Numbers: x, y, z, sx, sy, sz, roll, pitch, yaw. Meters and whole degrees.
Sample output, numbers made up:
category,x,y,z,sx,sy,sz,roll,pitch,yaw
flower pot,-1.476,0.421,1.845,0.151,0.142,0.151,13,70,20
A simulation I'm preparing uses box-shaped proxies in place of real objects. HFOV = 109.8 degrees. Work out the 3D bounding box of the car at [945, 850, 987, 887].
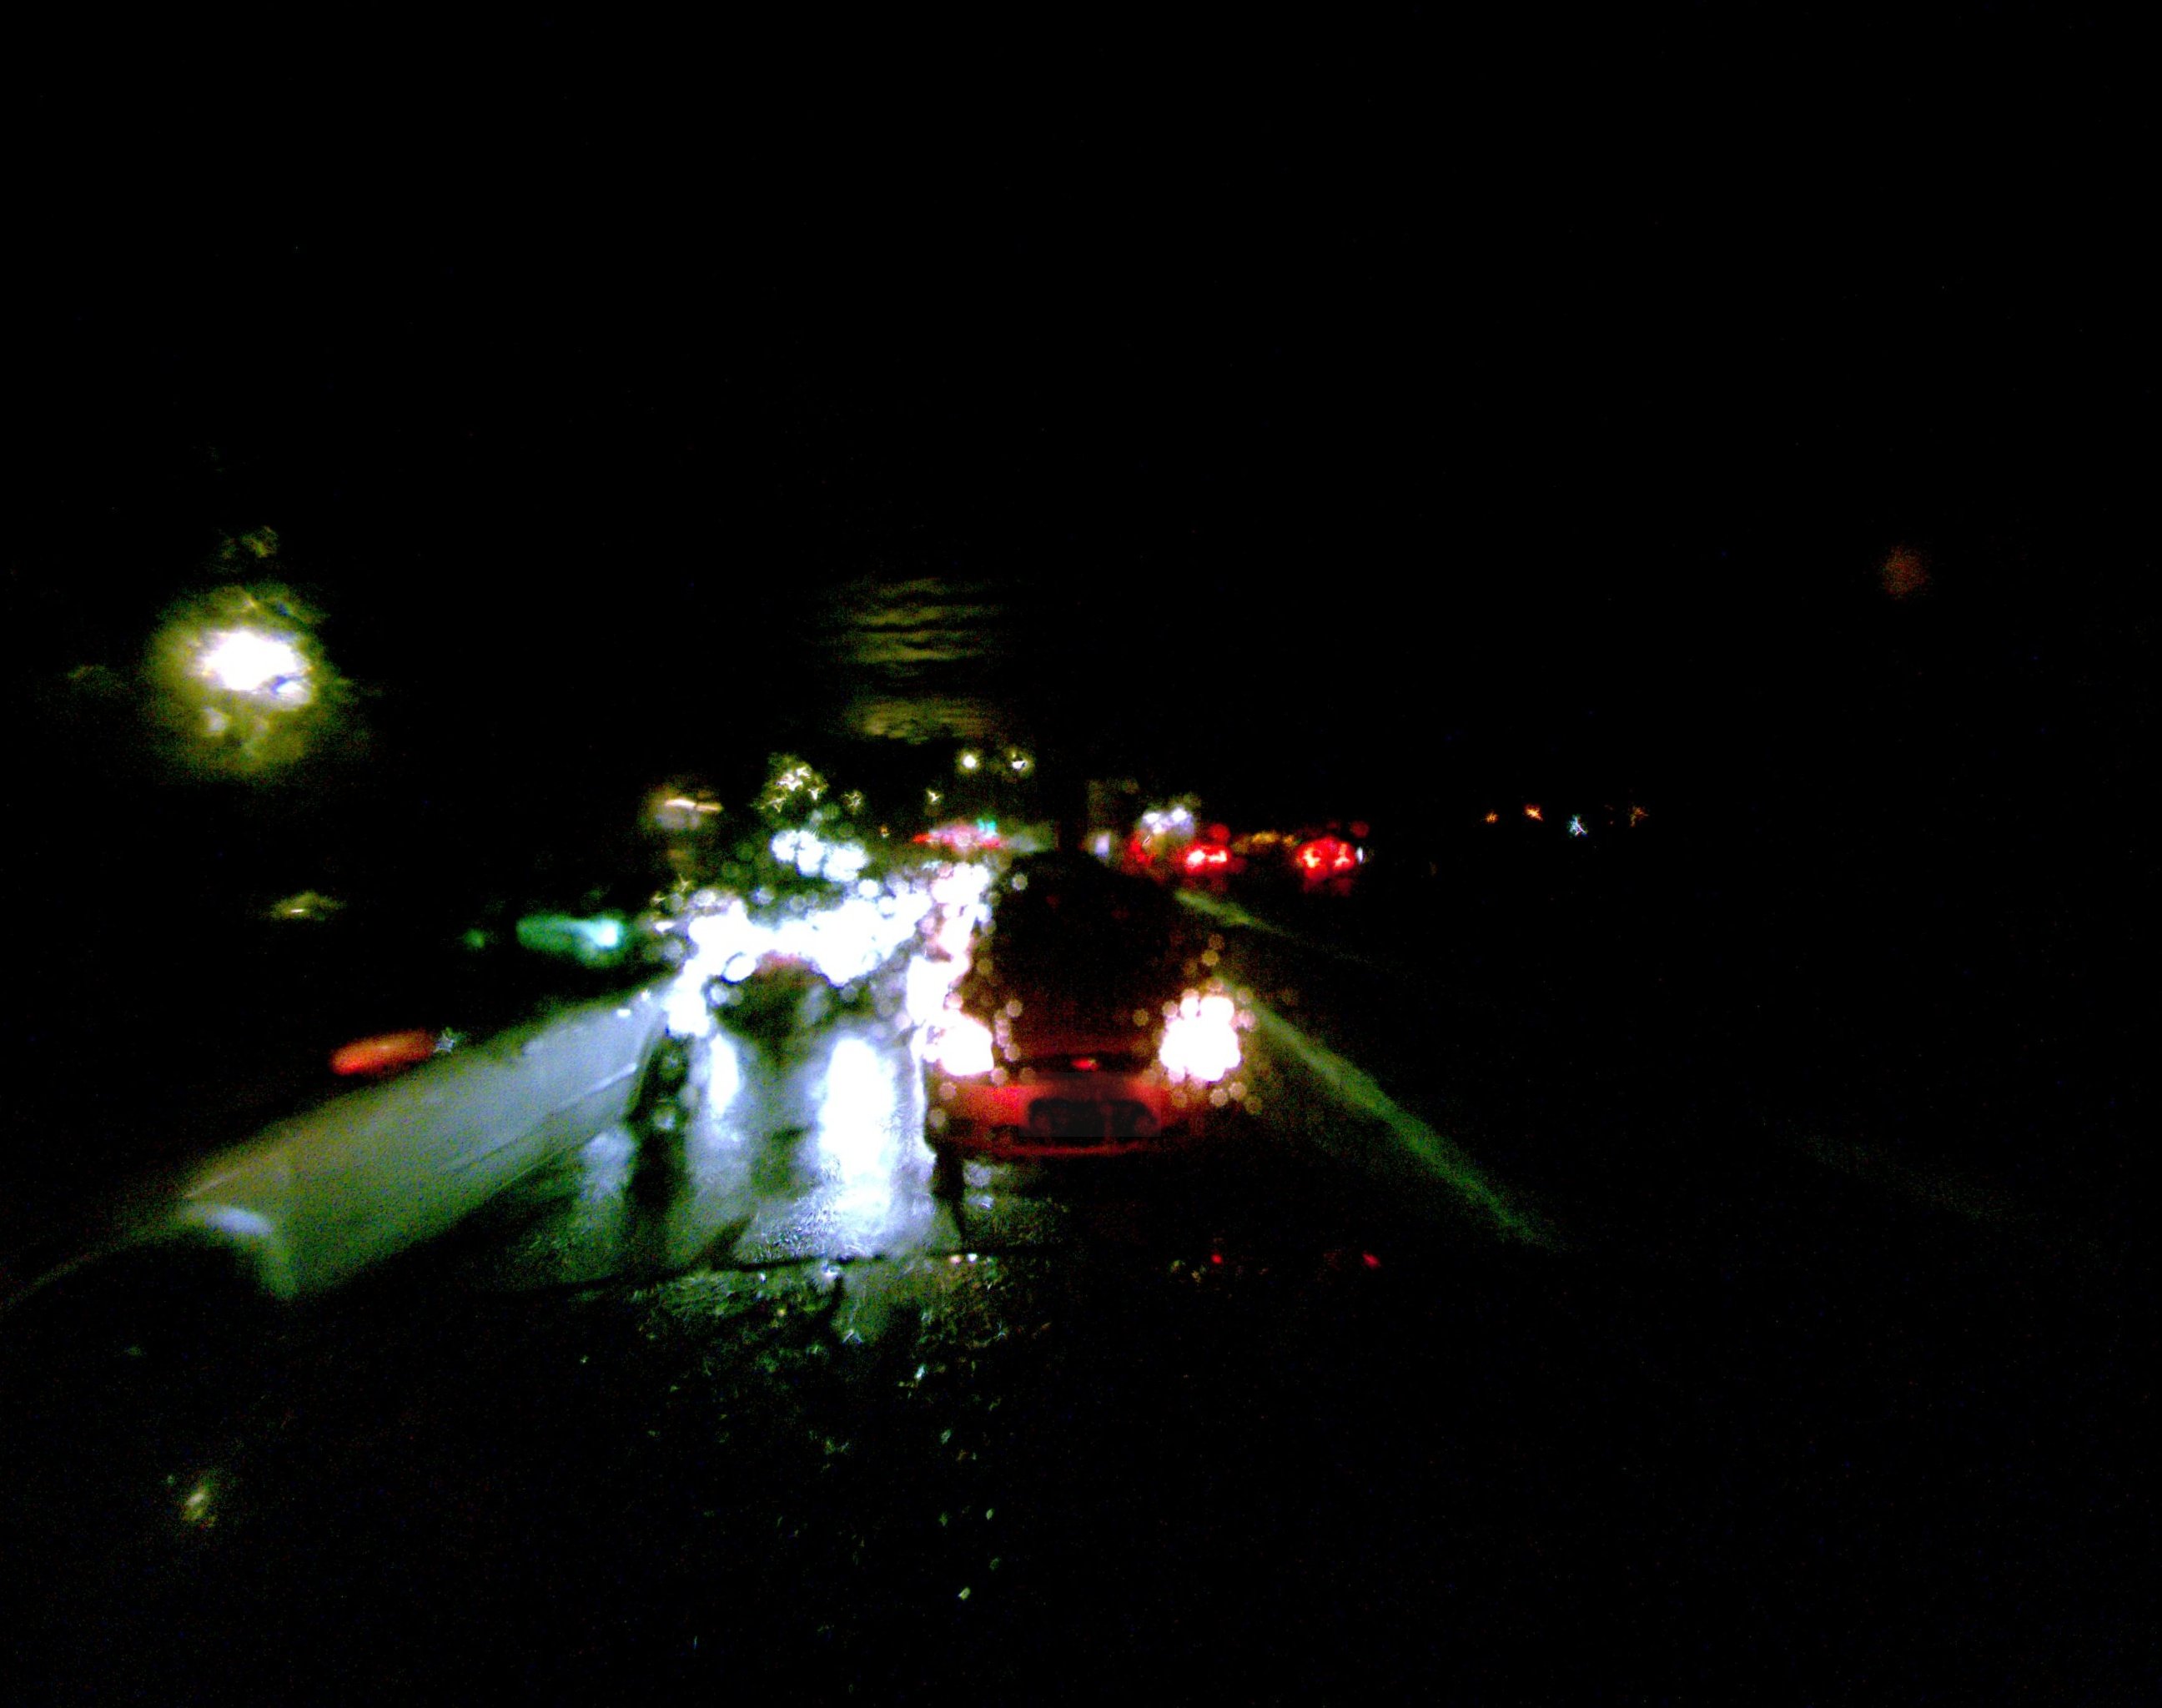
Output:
category,x,y,z,sx,sy,sz,roll,pitch,yaw
car,-5.386,0.652,36.061,1.743,1.581,3.997,-2,1,-6

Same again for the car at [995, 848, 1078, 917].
category,x,y,z,sx,sy,sz,roll,pitch,yaw
car,-1.110,0.640,19.718,1.881,1.534,3.999,-2,1,-2

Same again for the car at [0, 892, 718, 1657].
category,x,y,z,sx,sy,sz,roll,pitch,yaw
car,-3.186,1.005,2.694,1.792,1.359,3.999,-2,2,0

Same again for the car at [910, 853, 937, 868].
category,x,y,z,sx,sy,sz,roll,pitch,yaw
car,-16.609,0.670,80.081,1.856,1.476,4.477,-1,0,-23

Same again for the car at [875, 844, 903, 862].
category,x,y,z,sx,sy,sz,roll,pitch,yaw
car,-17.103,-0.130,67.482,1.856,1.423,4.493,-3,2,-21

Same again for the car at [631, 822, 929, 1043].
category,x,y,z,sx,sy,sz,roll,pitch,yaw
car,-3.369,0.745,9.593,1.999,2.076,4.347,-2,1,-1

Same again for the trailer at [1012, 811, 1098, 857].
category,x,y,z,sx,sy,sz,roll,pitch,yaw
trailer,-2.961,-1.856,77.464,3.973,4.152,13.894,-3,1,-22

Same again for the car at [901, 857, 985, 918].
category,x,y,z,sx,sy,sz,roll,pitch,yaw
car,-3.920,0.904,22.187,1.629,1.494,3.999,-2,1,1

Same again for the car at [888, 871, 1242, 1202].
category,x,y,z,sx,sy,sz,roll,pitch,yaw
car,-0.046,0.905,5.523,1.603,1.360,3.942,-2,1,1

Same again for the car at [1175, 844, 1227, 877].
category,x,y,z,sx,sy,sz,roll,pitch,yaw
car,6.849,0.338,43.837,1.909,1.731,4.395,-2,1,-6

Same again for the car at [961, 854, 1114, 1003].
category,x,y,z,sx,sy,sz,roll,pitch,yaw
car,-0.466,0.847,10.633,1.683,1.591,3.996,-2,1,1

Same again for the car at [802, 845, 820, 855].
category,x,y,z,sx,sy,sz,roll,pitch,yaw
car,-41.019,-0.577,115.455,1.885,1.463,3.991,-3,1,-28

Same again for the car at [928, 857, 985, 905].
category,x,y,z,sx,sy,sz,roll,pitch,yaw
car,-4.382,0.899,27.215,1.683,1.463,3.998,-2,1,-5

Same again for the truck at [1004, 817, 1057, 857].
category,x,y,z,sx,sy,sz,roll,pitch,yaw
truck,-5.680,-1.826,84.187,3.973,4.152,6.365,-3,1,-22

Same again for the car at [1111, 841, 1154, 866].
category,x,y,z,sx,sy,sz,roll,pitch,yaw
car,3.830,-0.072,57.258,1.971,1.731,4.913,-2,1,-11

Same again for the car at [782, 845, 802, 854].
category,x,y,z,sx,sy,sz,roll,pitch,yaw
car,-50.640,-0.820,133.083,1.886,1.463,3.989,-3,1,-40

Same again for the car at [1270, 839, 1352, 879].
category,x,y,z,sx,sy,sz,roll,pitch,yaw
car,10.949,0.213,36.566,1.860,1.739,4.501,-2,1,-11

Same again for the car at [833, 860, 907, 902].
category,x,y,z,sx,sy,sz,roll,pitch,yaw
car,-8.031,0.982,29.371,1.853,1.476,4.627,-1,0,-4

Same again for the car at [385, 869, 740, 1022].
category,x,y,z,sx,sy,sz,roll,pitch,yaw
car,-6.746,1.058,10.692,1.842,1.469,4.627,-2,1,-1

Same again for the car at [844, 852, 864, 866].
category,x,y,z,sx,sy,sz,roll,pitch,yaw
car,-25.659,0.568,85.819,1.884,1.463,3.993,-3,1,-21

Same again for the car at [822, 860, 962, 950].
category,x,y,z,sx,sy,sz,roll,pitch,yaw
car,-3.740,0.939,15.755,1.869,1.503,3.766,-2,1,1
